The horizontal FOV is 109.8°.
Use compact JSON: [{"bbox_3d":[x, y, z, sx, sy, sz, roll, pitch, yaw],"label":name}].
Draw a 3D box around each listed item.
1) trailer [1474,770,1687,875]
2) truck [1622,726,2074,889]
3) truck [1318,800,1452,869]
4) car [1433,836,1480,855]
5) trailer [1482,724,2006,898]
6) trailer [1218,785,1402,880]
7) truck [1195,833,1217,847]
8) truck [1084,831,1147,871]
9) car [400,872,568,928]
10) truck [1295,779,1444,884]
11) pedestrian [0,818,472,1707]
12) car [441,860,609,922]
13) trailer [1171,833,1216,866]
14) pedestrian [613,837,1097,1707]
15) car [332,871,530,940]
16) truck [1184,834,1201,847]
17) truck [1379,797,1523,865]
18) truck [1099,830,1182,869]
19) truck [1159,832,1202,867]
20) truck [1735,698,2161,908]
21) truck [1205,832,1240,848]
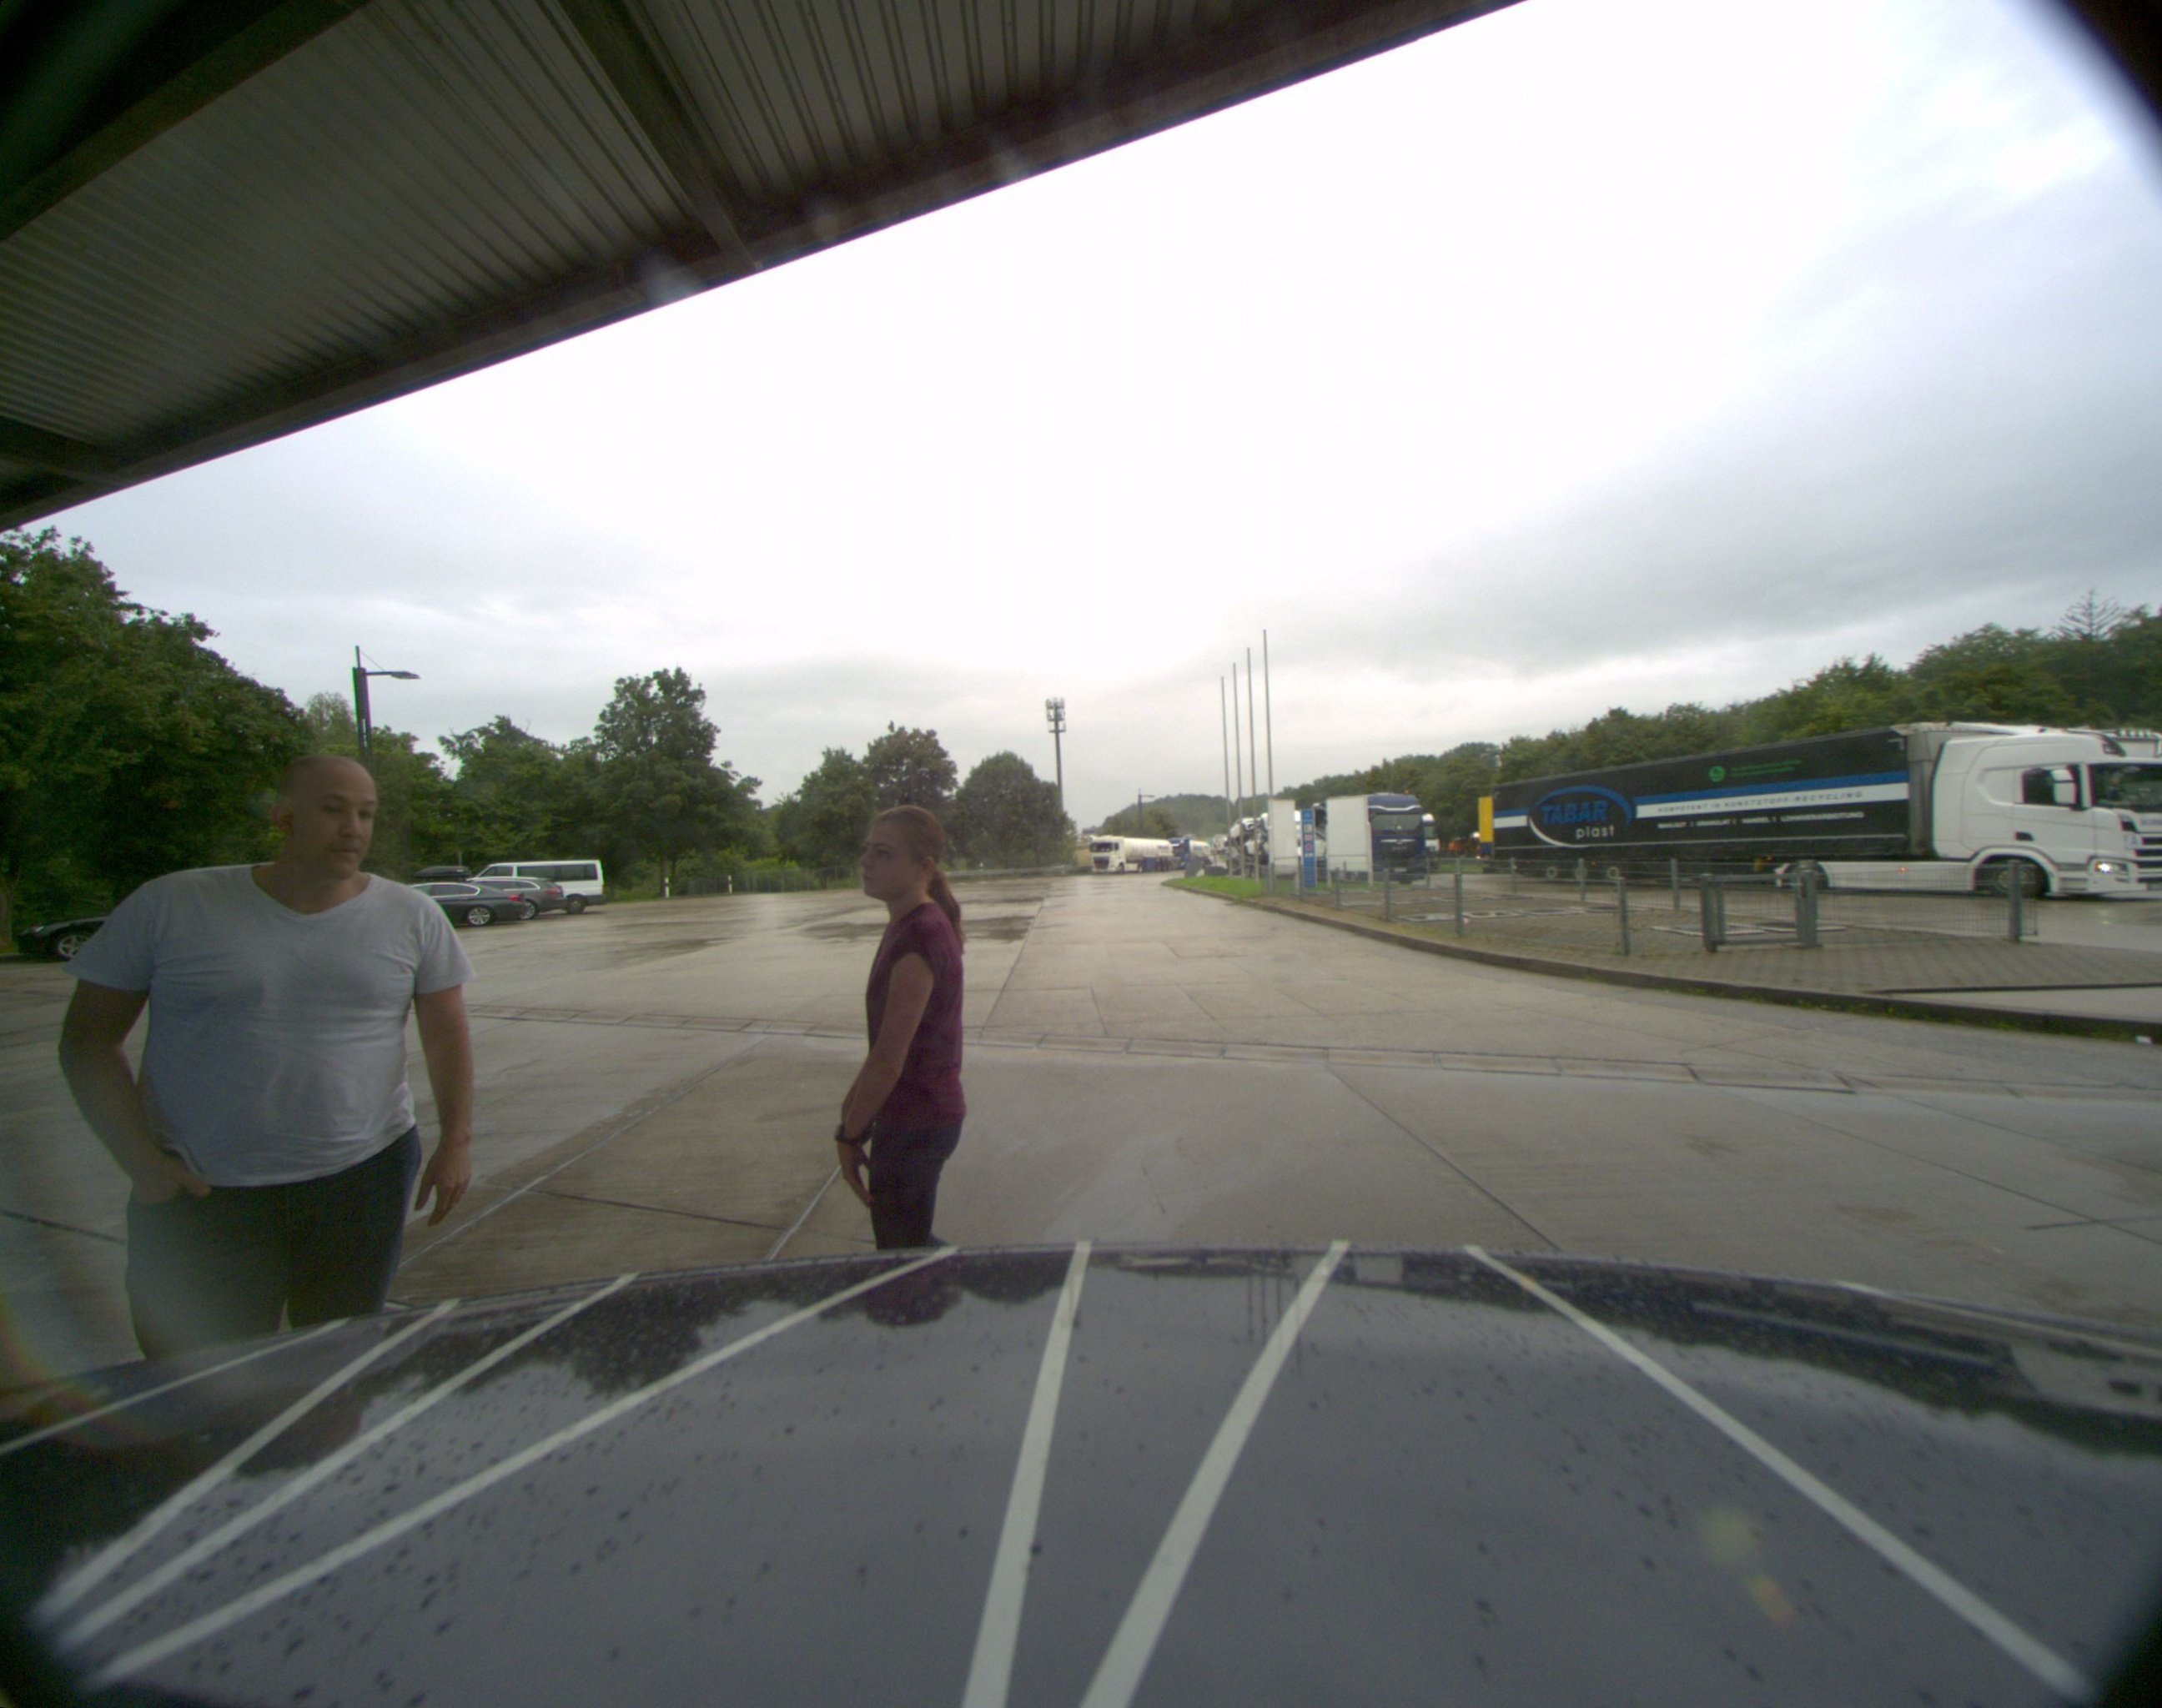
[{"bbox_3d":[21.784,-1.269,34.009,2.774,4.009,8.853,-2,1,-8],"label":"trailer"},{"bbox_3d":[23.061,-1.208,24.326,2.774,4.009,10.632,-2,1,-8],"label":"truck"},{"bbox_3d":[19.760,-1.215,50.449,2.991,4.009,10.464,-2,1,-10],"label":"truck"},{"bbox_3d":[45.639,-1.052,92.536,2.421,2.163,5.623,-2,0,-6],"label":"car"},{"bbox_3d":[19.264,-1.066,24.611,2.991,4.009,13.793,-2,1,-11],"label":"trailer"},{"bbox_3d":[11.375,-0.995,40.956,2.990,4.009,16.597,-2,1,-7],"label":"trailer"},{"bbox_3d":[34.386,-3.861,209.516,3.251,3.543,11.968,-2,1,-5],"label":"truck"},{"bbox_3d":[3.319,-0.353,71.456,3.243,3.544,6.114,-2,1,31],"label":"truck"},{"bbox_3d":[-19.654,1.453,25.301,4.187,1.547,1.995,-2,0,-33],"label":"car"},{"bbox_3d":[12.304,-0.918,33.265,2.990,4.009,7.259,-2,1,-7],"label":"truck"},{"bbox_3d":[-1.725,0.843,1.536,0.635,1.800,0.493,-4,3,-34],"label":"pedestrian"},{"bbox_3d":[-20.263,1.281,27.932,4.780,1.974,2.010,-2,0,-36],"label":"car"},{"bbox_3d":[13.672,-0.648,91.459,2.898,3.618,10.586,-2,1,22],"label":"trailer"},{"bbox_3d":[-0.450,0.835,1.824,0.839,1.724,0.796,-1,1,-7],"label":"pedestrian"},{"bbox_3d":[-19.108,1.449,22.638,4.187,1.720,1.995,-2,0,-33],"label":"car"},{"bbox_3d":[30.536,-3.679,207.896,2.619,3.458,9.319,-2,1,-4],"label":"truck"},{"bbox_3d":[24.363,-1.397,50.973,2.991,4.009,10.464,-2,1,-10],"label":"truck"},{"bbox_3d":[6.202,-0.520,76.367,3.243,3.544,11.995,-2,1,31],"label":"truck"},{"bbox_3d":[11.331,-0.521,85.751,3.045,3.745,6.475,-2,1,23],"label":"truck"},{"bbox_3d":[20.461,-1.038,18.183,2.992,4.009,6.733,-2,1,-15],"label":"truck"},{"bbox_3d":[33.166,-3.139,179.232,3.251,3.543,16.548,-2,1,-7],"label":"truck"}]
